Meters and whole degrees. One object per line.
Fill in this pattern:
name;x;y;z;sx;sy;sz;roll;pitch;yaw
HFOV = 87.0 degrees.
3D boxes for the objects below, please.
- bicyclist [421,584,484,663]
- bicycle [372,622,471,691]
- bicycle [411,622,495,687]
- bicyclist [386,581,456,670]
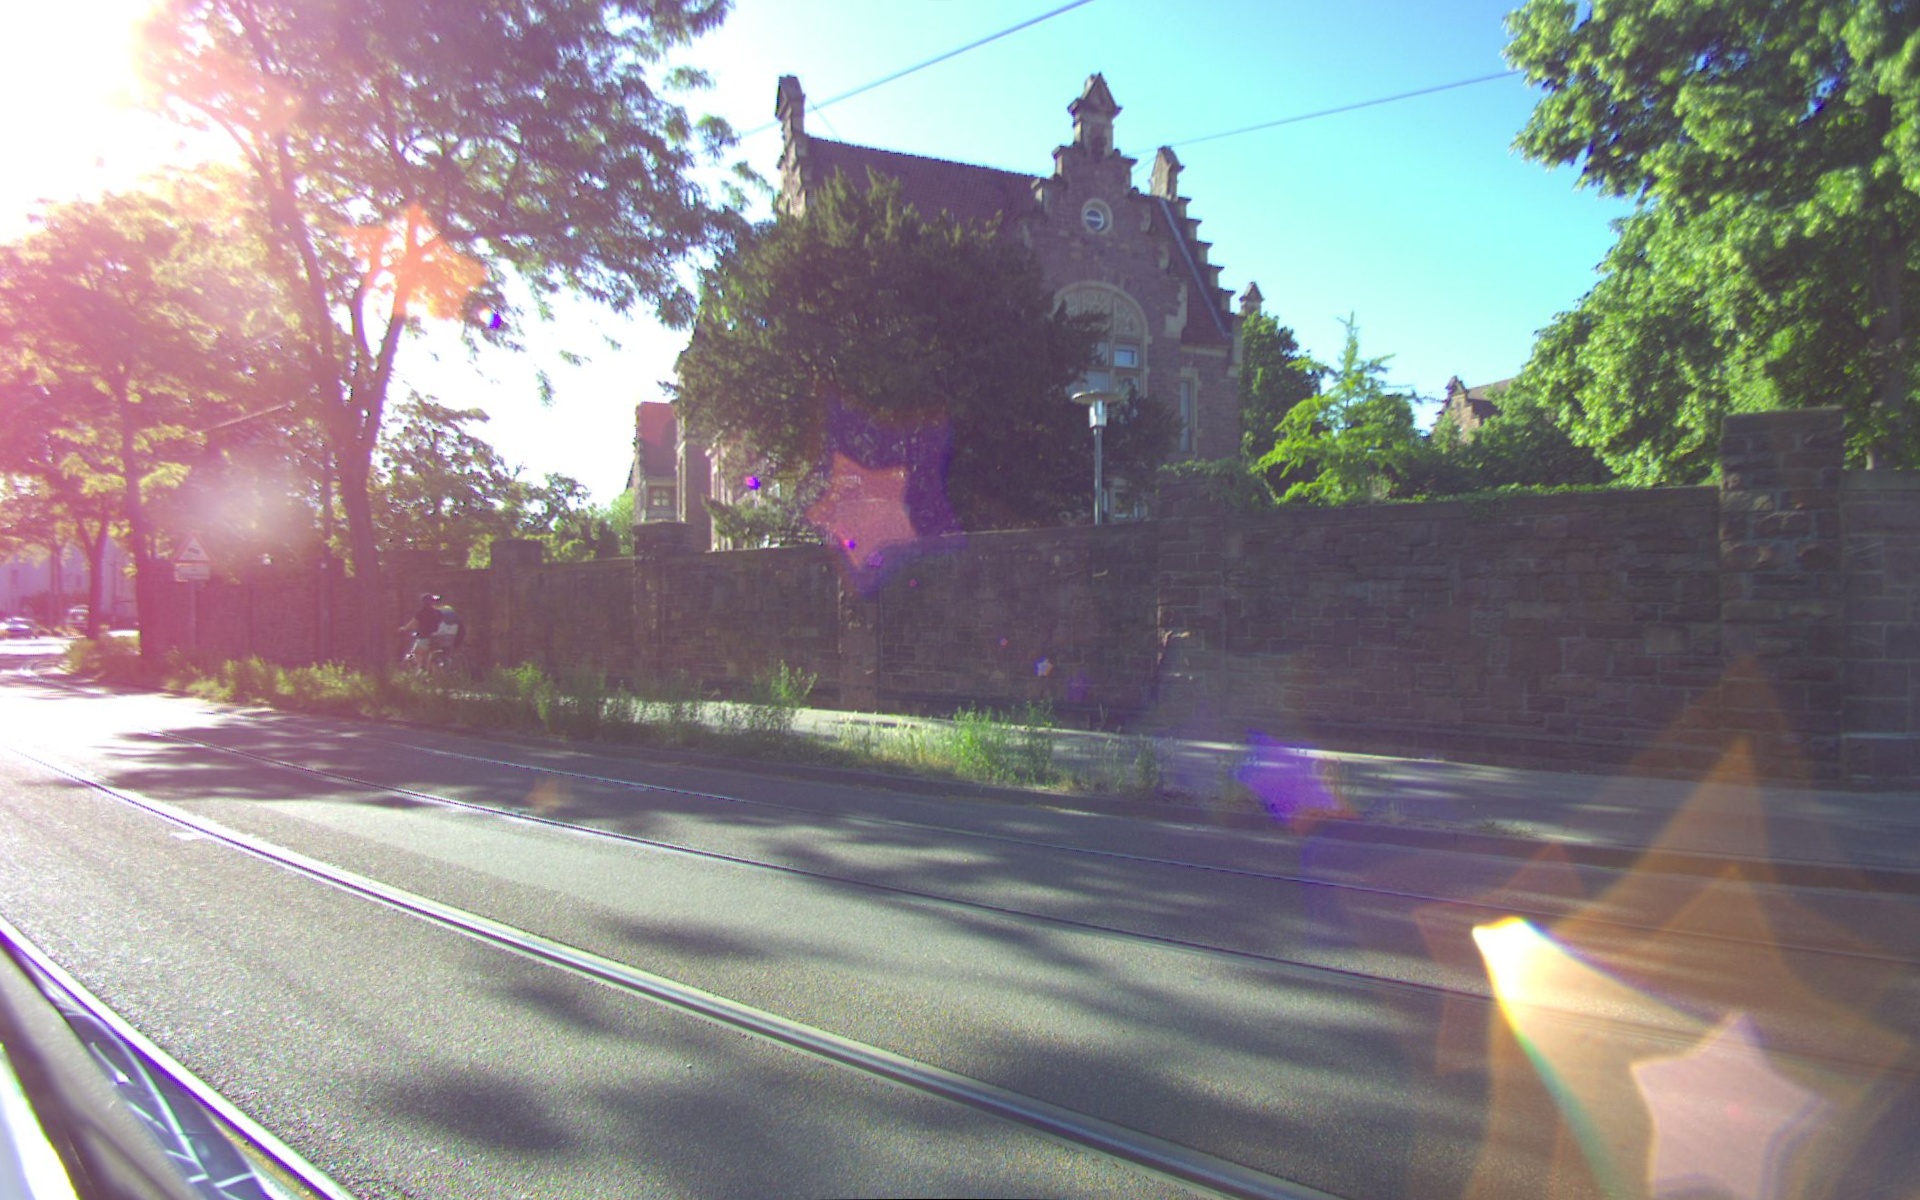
bicyclist;-9.695;0.446;19.337;1.150;1.470;0.647;-1;-1;37
bicycle;-9.228;0.941;17.302;2.060;1.097;0.678;-1;-1;37
bicycle;-9.711;1.019;19.353;1.852;1.097;0.678;3;1;37
bicyclist;-9.228;0.436;17.314;1.150;1.470;0.647;-1;-1;37
